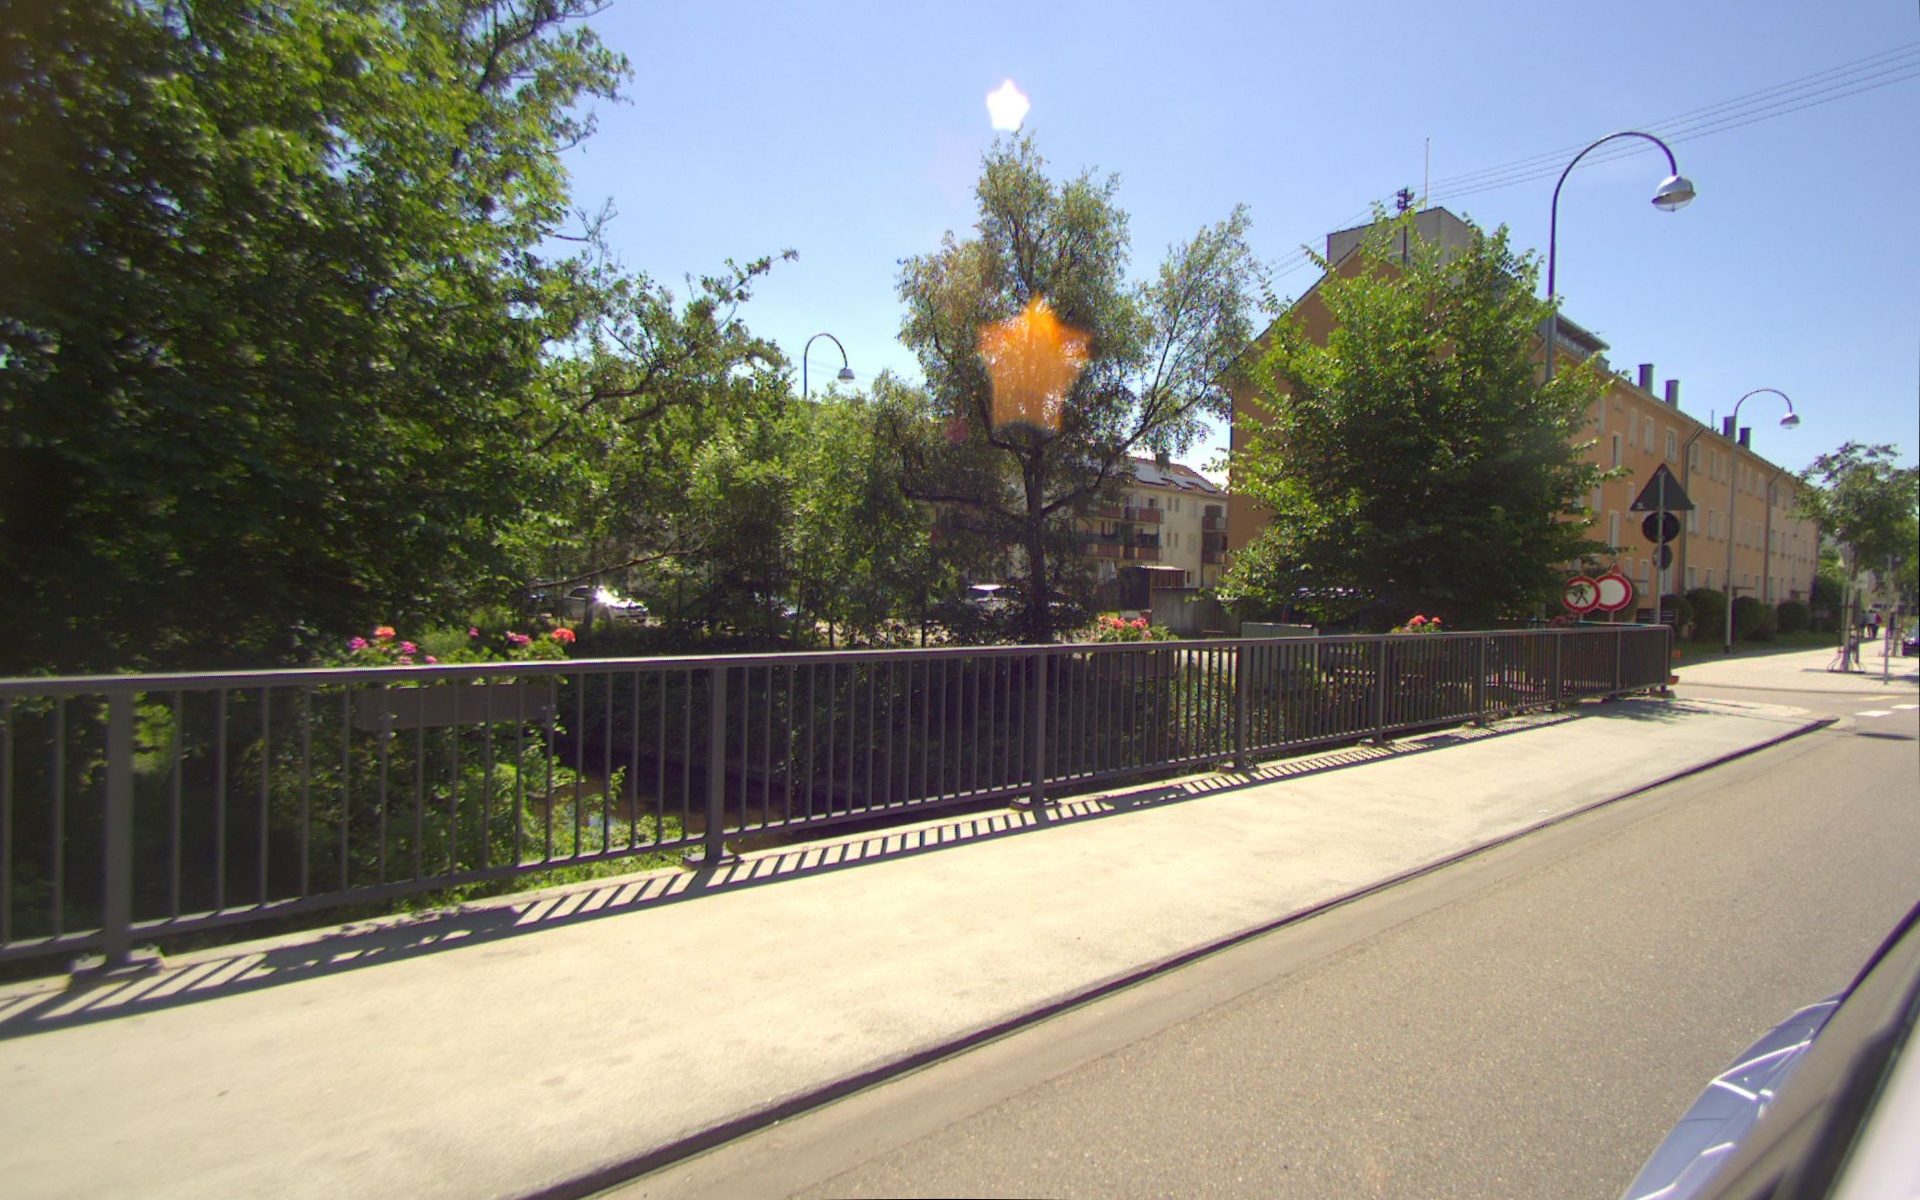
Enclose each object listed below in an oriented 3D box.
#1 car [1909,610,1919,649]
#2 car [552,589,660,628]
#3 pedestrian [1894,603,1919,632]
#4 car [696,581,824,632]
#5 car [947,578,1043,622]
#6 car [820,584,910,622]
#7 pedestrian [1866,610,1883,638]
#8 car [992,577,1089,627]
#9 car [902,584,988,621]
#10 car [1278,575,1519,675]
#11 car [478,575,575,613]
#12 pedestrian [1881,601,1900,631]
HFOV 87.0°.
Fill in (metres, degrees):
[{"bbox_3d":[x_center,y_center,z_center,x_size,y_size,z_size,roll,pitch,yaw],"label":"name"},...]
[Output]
[{"bbox_3d":[40.376,1.236,41.459,4.979,1.522,1.836,1,3,-44],"label":"car"},{"bbox_3d":[-13.797,0.299,39.333,4.491,1.398,1.882,1,1,39],"label":"car"},{"bbox_3d":[61.013,1.103,65.105,1.171,1.753,1.173,6,4,42],"label":"pedestrian"},{"bbox_3d":[-6.680,0.164,33.595,4.491,1.440,1.736,2,3,39],"label":"car"},{"bbox_3d":[1.459,-0.022,40.748,1.988,1.650,3.948,2,1,36],"label":"car"},{"bbox_3d":[-4.287,0.114,46.055,1.988,1.583,3.948,2,1,36],"label":"car"},{"bbox_3d":[59.978,1.553,66.360,0.793,1.800,0.993,2,1,43],"label":"pedestrian"},{"bbox_3d":[3.193,0.065,39.458,1.988,1.805,3.948,2,1,36],"label":"car"},{"bbox_3d":[-0.589,0.077,42.564,1.610,1.438,3.869,2,1,36],"label":"car"},{"bbox_3d":[9.035,0.447,21.032,4.330,1.862,1.725,1,0,39],"label":"car"},{"bbox_3d":[-18.493,-0.249,43.112,4.491,1.549,1.972,1,0,39],"label":"car"},{"bbox_3d":[58.151,1.000,63.275,0.820,1.877,0.969,2,0,43],"label":"pedestrian"}]
